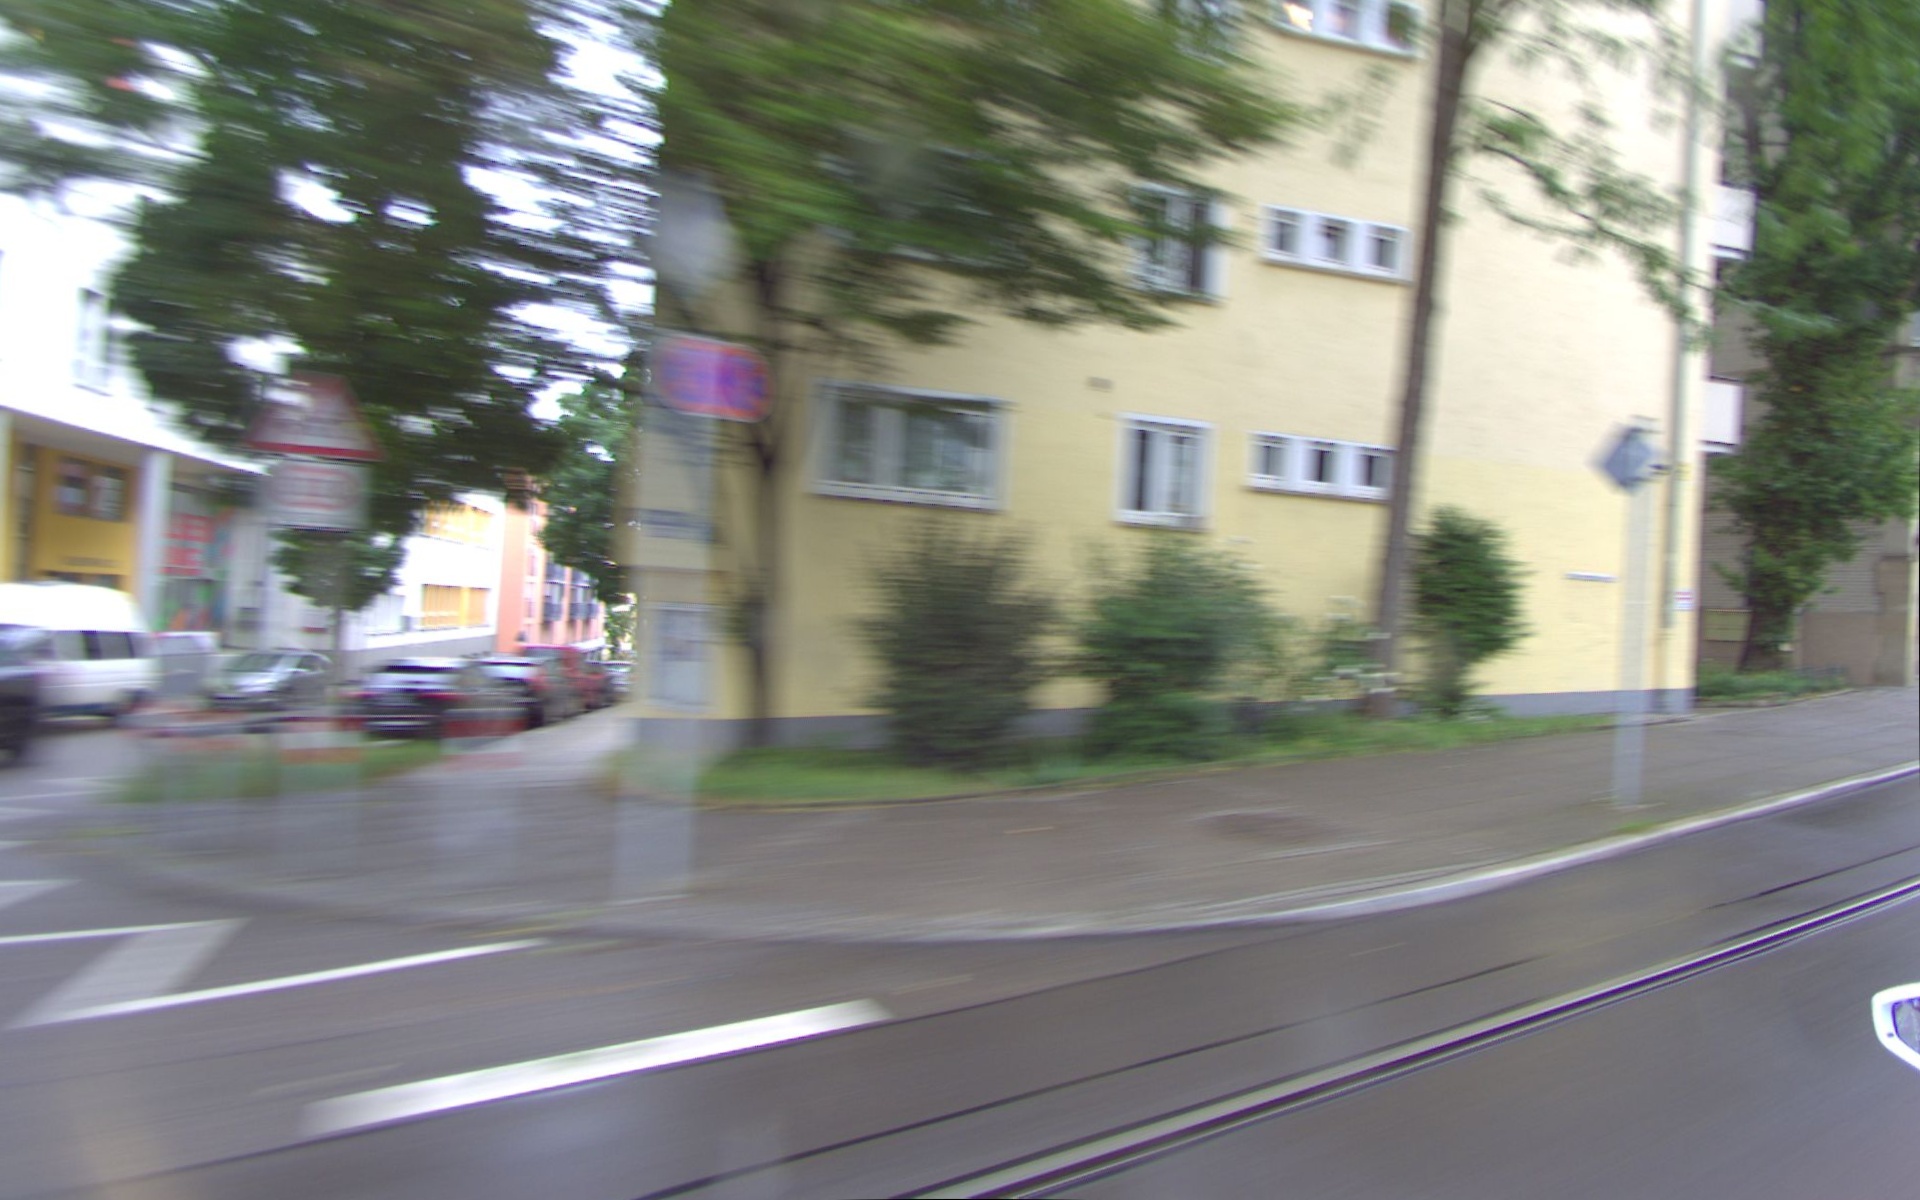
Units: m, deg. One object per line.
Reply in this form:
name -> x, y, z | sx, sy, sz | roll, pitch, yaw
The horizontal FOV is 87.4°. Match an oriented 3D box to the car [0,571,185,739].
car -> -16.107, 0.966, 17.465 | 1.965, 2.561, 5.065 | 2, -4, -11

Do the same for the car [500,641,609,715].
car -> -10.923, 2.105, 27.360 | 1.916, 1.835, 4.123 | 2, -4, -11

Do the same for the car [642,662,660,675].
car -> -40.051, 8.879, 130.333 | 1.768, 1.529, 3.994 | 2, -4, -11

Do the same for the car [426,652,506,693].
car -> -19.526, 2.869, 39.875 | 1.768, 1.529, 3.994 | 2, -4, -11

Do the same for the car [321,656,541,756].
car -> -8.152, 1.612, 15.951 | 1.916, 1.365, 4.123 | 2, -4, -11

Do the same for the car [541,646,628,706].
car -> -12.047, 2.453, 32.478 | 1.916, 1.780, 4.123 | 2, -4, -11

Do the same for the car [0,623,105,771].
car -> -11.902, 1.048, 10.724 | 2.034, 1.699, 4.764 | 2, -4, -11

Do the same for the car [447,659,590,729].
car -> -9.468, 2.004, 21.898 | 1.916, 1.365, 4.123 | 2, -4, -11

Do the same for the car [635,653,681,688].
car -> -16.129, 3.781, 53.796 | 1.916, 1.780, 4.123 | 2, -4, -11

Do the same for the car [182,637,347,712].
car -> -17.928, 1.931, 26.159 | 1.916, 1.780, 4.123 | 2, -4, -11

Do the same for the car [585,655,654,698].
car -> -13.091, 2.948, 38.832 | 1.916, 1.529, 4.123 | 2, -4, -11

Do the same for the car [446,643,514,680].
car -> -21.708, 2.802, 45.548 | 1.768, 1.529, 3.994 | 2, -4, -11

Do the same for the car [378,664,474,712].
car -> -18.333, 3.006, 34.703 | 1.768, 1.529, 3.994 | 2, -4, -11
